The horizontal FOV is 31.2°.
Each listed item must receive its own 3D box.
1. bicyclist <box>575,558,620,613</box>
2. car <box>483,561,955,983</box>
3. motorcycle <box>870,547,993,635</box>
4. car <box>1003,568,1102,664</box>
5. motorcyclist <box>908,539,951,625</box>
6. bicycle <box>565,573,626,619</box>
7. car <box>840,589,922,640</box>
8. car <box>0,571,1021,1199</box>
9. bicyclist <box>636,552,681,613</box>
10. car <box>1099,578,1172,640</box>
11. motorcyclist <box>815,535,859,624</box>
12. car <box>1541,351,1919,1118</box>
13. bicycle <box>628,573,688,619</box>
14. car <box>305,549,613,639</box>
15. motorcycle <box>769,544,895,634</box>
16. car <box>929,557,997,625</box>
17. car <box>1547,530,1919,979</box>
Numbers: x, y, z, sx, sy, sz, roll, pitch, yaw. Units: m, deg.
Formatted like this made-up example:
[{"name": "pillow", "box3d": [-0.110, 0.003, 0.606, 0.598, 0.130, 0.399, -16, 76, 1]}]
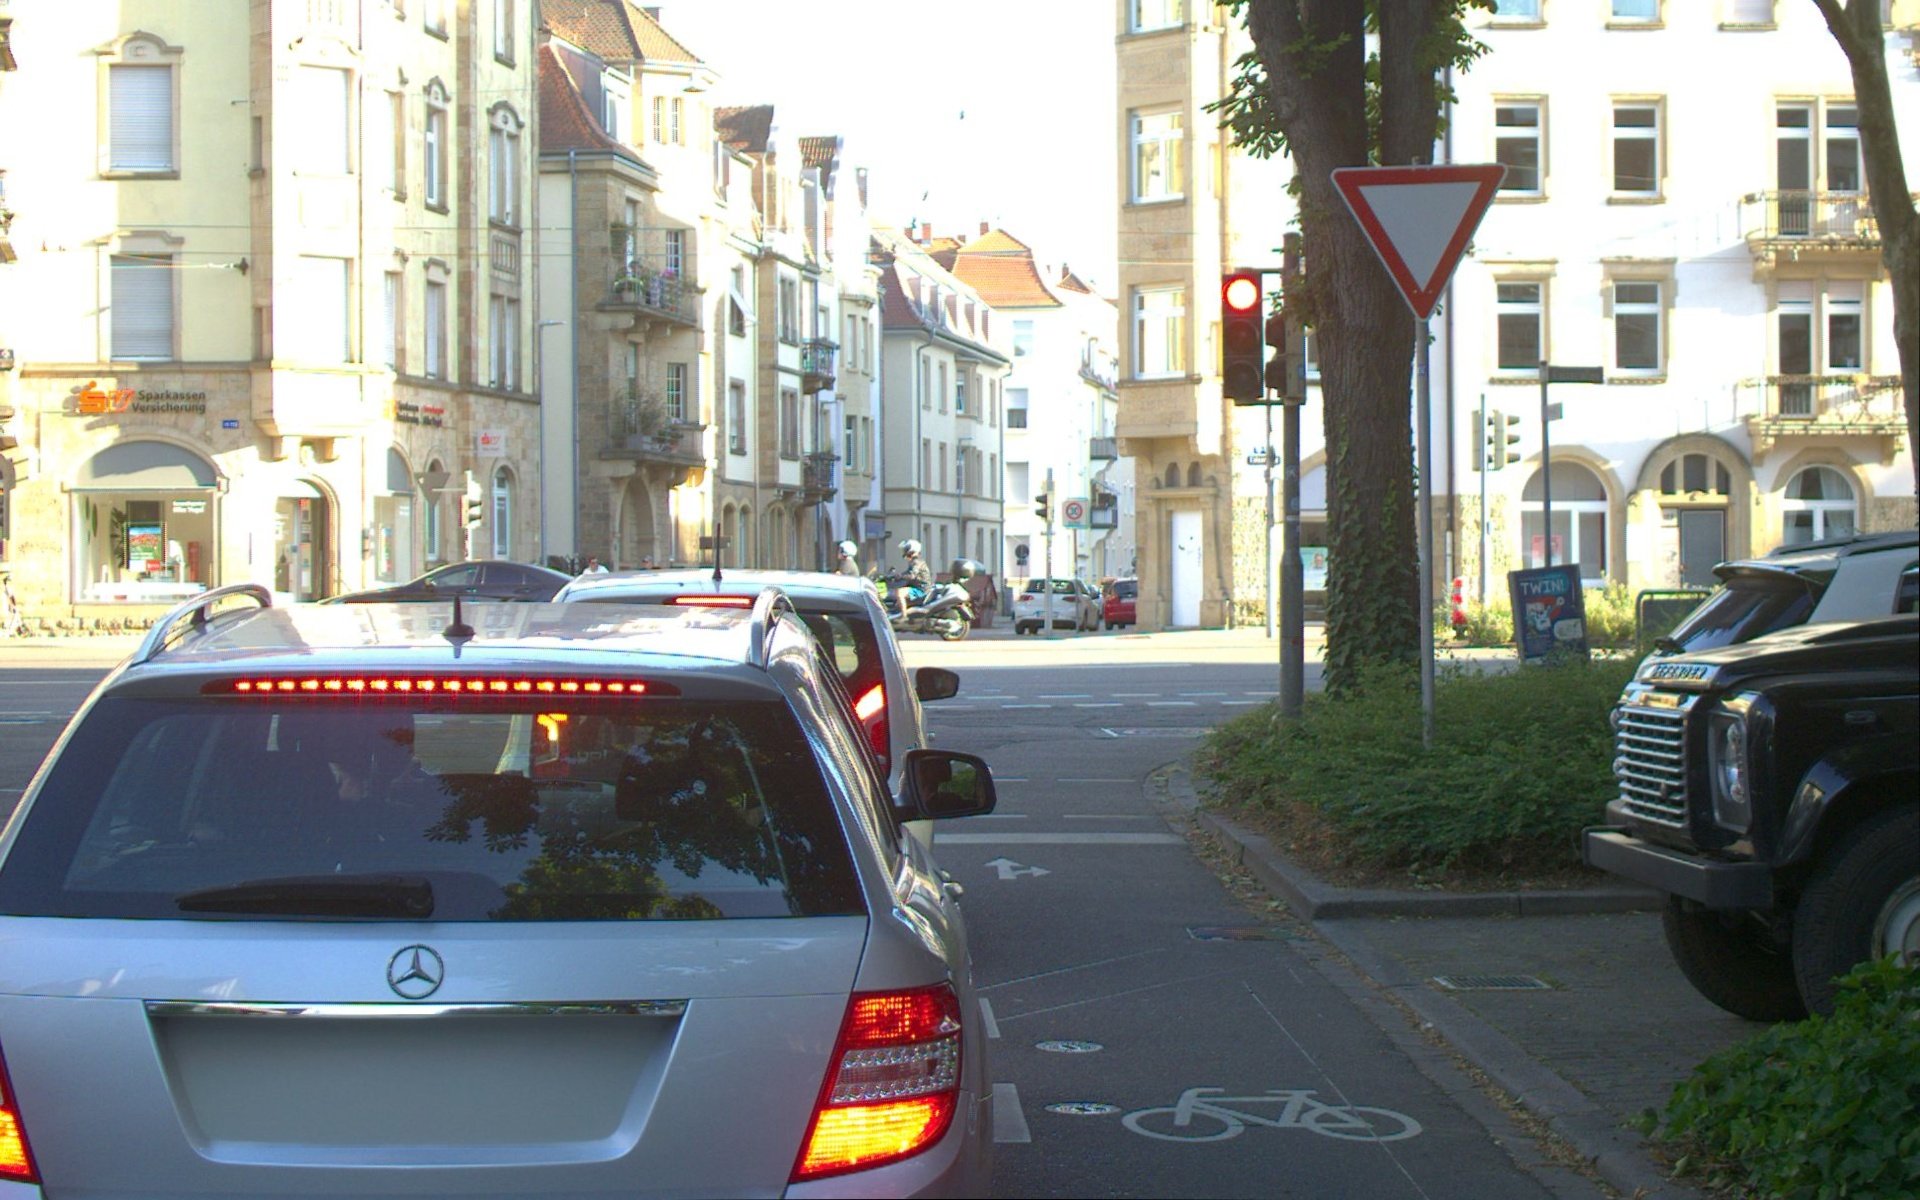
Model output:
[{"name": "bicyclist", "box3d": [-7.751, -0.322, 73.461, 0.771, 1.152, 0.752, 1, 1, 11]}, {"name": "car", "box3d": [-0.915, 0.573, 14.051, 1.619, 1.442, 4.345, 0, 1, -2]}, {"name": "motorcycle", "box3d": [-0.486, -0.160, 57.901, 2.033, 1.447, 0.568, -1, 1, -4]}, {"name": "car", "box3d": [2.341, 0.372, 85.899, 2.031, 2.272, 3.999, 0, 1, 8]}, {"name": "motorcyclist", "box3d": [-0.519, -0.309, 57.896, 0.681, 1.447, 0.568, -1, 1, -4]}, {"name": "bicycle", "box3d": [-7.769, -0.100, 73.386, 0.771, 0.936, 1.939, 1, 1, 11]}, {"name": "car", "box3d": [-2.325, 0.416, 102.532, 1.835, 1.397, 3.999, 0, 1, 8]}, {"name": "car", "box3d": [-0.898, 0.681, 6.961, 1.777, 1.447, 4.548, 0, 1, -2]}, {"name": "bicyclist", "box3d": [-6.444, -0.383, 73.470, 0.771, 1.285, 0.752, 1, 1, 11]}, {"name": "car", "box3d": [5.217, 0.242, 101.932, 1.835, 1.738, 3.999, 0, 1, 8]}, {"name": "motorcyclist", "box3d": [-2.011, -0.344, 56.280, 0.681, 1.447, 0.568, -1, 1, -4]}, {"name": "car", "box3d": [4.135, 0.305, 10.121, 4.465, 2.029, 1.701, -1, 0, -3]}, {"name": "bicycle", "box3d": [-6.446, -0.090, 73.474, 0.771, 0.931, 1.939, 1, 1, 11]}, {"name": "car", "box3d": [-8.190, -0.110, 56.549, 4.883, 1.447, 1.859, 0, 1, -4]}, {"name": "motorcycle", "box3d": [-2.098, -0.185, 56.277, 2.033, 1.447, 0.568, -1, 1, -4]}, {"name": "car", "box3d": [0.130, -0.327, 117.349, 1.787, 2.196, 3.999, 0, 1, 8]}, {"name": "car", "box3d": [4.289, 0.505, 13.091, 3.723, 1.564, 1.709, -1, 0, -4]}]
